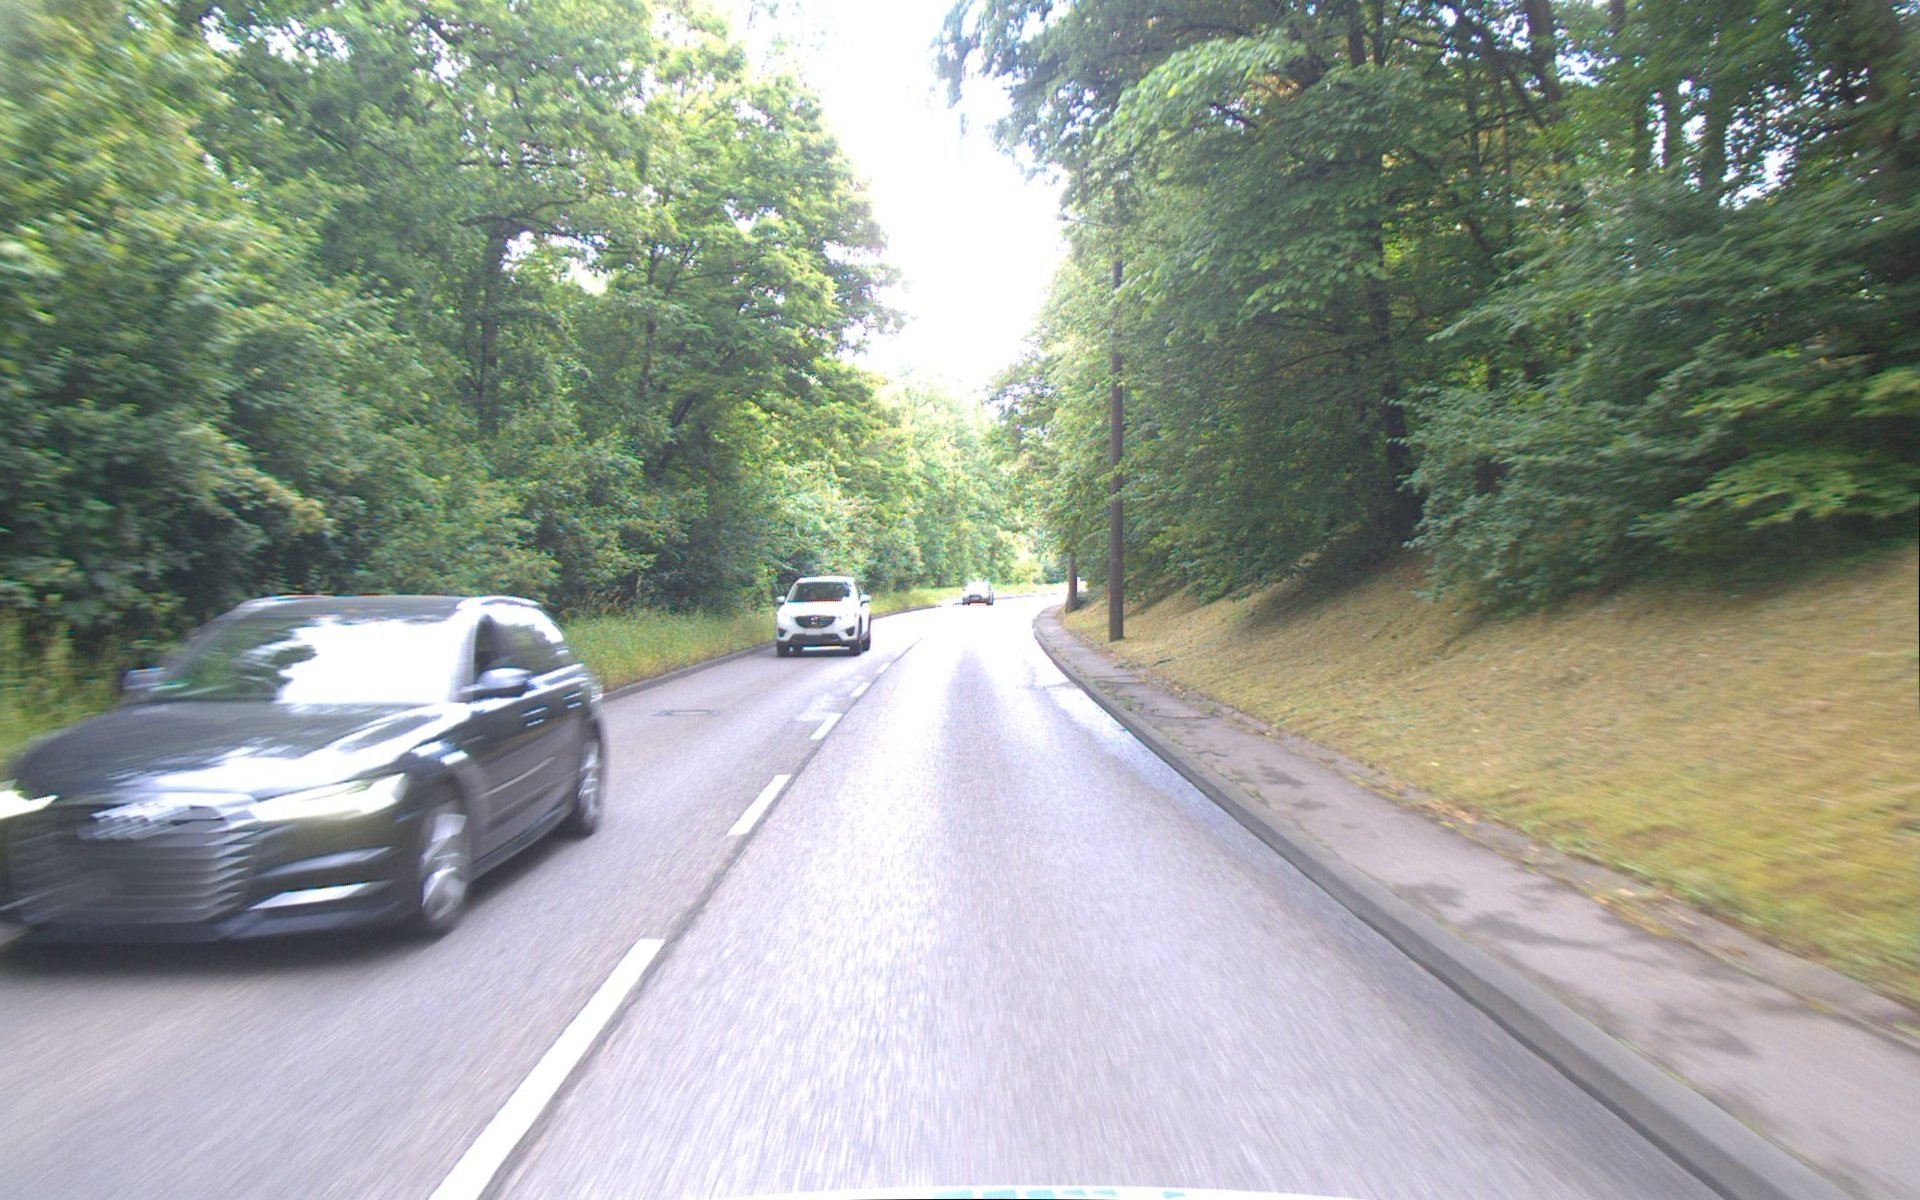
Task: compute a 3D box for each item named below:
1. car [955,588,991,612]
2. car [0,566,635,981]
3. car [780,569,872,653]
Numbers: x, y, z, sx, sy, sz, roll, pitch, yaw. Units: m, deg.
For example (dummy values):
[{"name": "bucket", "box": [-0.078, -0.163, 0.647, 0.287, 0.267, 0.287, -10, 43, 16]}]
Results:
[{"name": "car", "box": [0.807, 0.010, 107.368, 1.955, 1.462, 3.995, 1, 0, -5]}, {"name": "car", "box": [-3.080, 0.638, 8.486, 1.988, 1.534, 4.594, 1, 0, -1]}, {"name": "car", "box": [-2.930, 0.242, 36.888, 1.782, 1.724, 4.286, 1, 0, -1]}]
